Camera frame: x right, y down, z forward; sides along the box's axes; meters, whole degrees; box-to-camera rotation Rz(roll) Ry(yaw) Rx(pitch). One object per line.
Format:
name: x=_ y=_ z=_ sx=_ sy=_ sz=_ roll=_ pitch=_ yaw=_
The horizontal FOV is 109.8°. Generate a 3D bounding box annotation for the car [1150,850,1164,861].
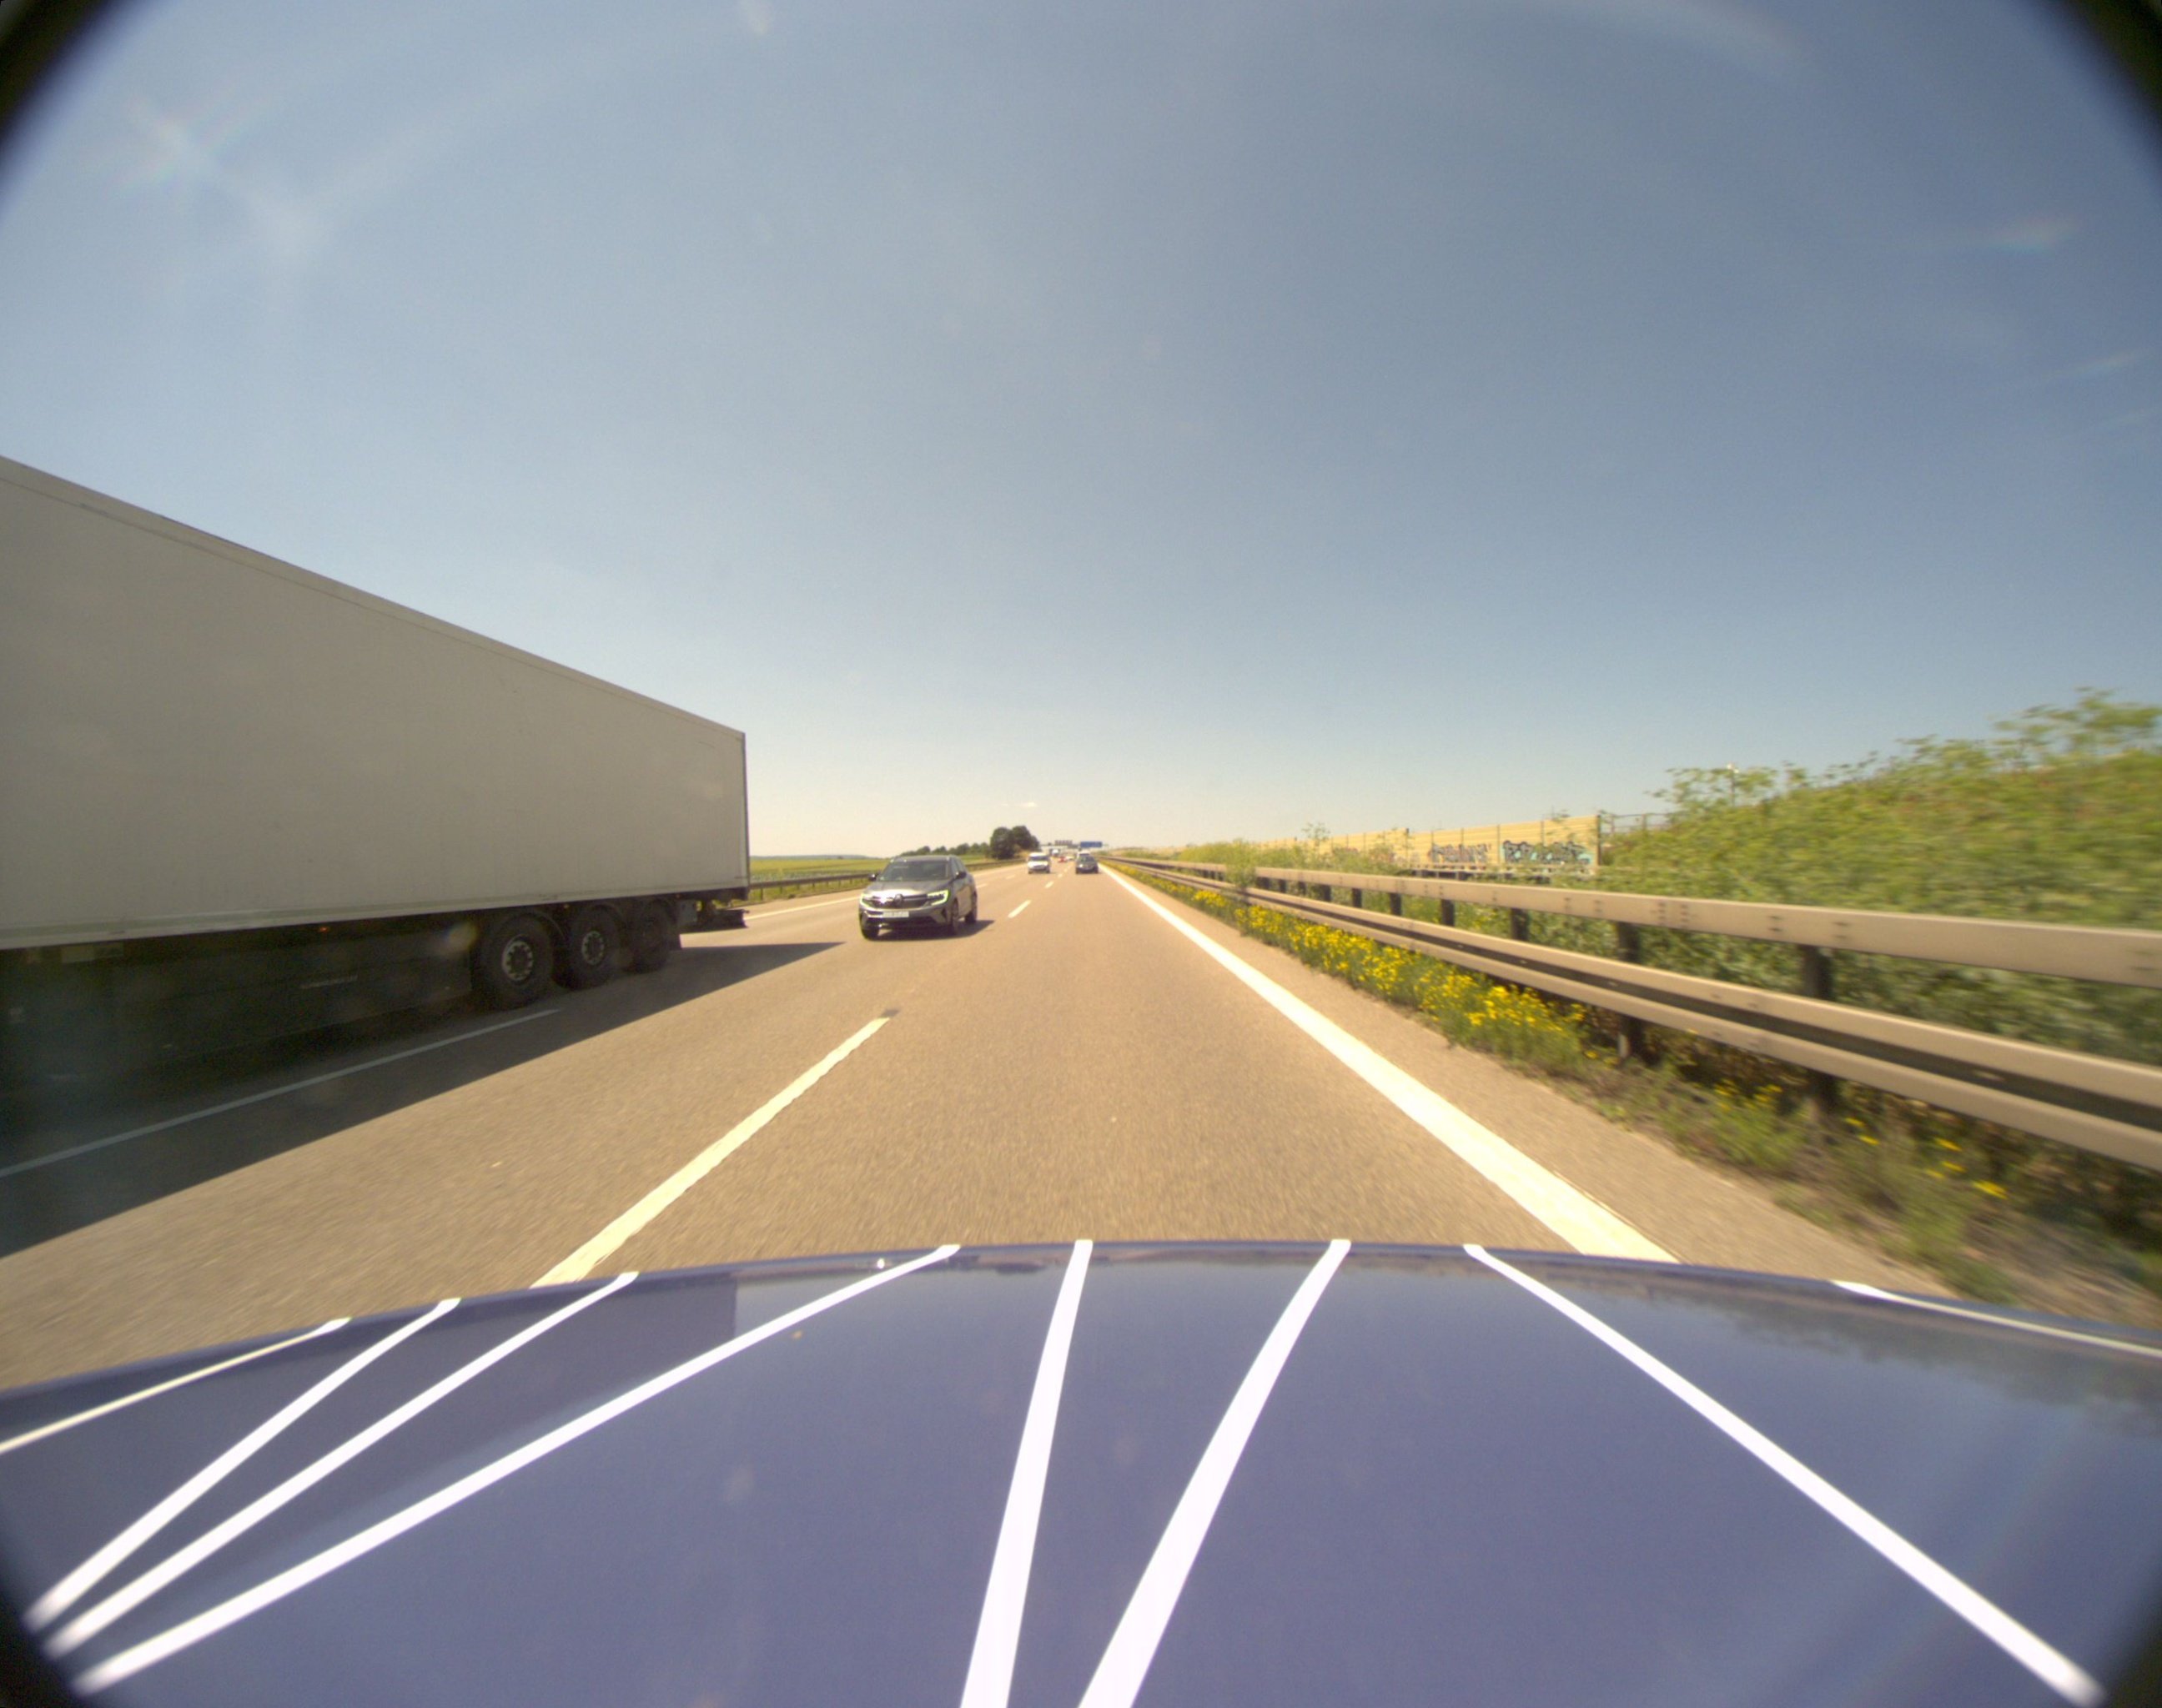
car: x=14.588 y=0.308 z=146.035 sx=1.998 sy=1.950 sz=5.913 roll=-2 pitch=0 yaw=0

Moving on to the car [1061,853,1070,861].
car: x=-3.132 y=0.521 z=152.000 sx=1.723 sy=1.514 sz=3.581 roll=-2 pitch=1 yaw=1

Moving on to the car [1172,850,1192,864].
car: x=14.788 y=0.391 z=111.507 sx=1.998 sy=1.929 sz=5.854 roll=2 pitch=1 yaw=0

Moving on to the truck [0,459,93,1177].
truck: x=-7.530 y=-0.149 z=1.151 sx=2.870 sy=4.068 sz=6.878 roll=-2 pitch=1 yaw=0

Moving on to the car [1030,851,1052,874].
car: x=-3.502 y=0.738 z=67.002 sx=1.812 sy=1.836 sz=5.311 roll=-2 pitch=0 yaw=-2

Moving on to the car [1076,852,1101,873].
car: x=0.576 y=0.670 z=60.969 sx=1.715 sy=1.586 sz=4.546 roll=3 pitch=0 yaw=-2

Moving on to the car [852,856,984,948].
car: x=-3.346 y=0.911 z=16.534 sx=1.856 sy=1.639 sz=4.644 roll=-1 pitch=0 yaw=0

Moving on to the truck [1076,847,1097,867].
truck: x=0.664 y=0.355 z=100.634 sx=2.334 sy=2.378 sz=6.685 roll=-2 pitch=0 yaw=-2

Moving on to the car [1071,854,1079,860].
car: x=-1.520 y=0.716 z=187.410 sx=1.724 sy=1.514 sz=3.581 roll=-2 pitch=1 yaw=-2

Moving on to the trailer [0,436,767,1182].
trailer: x=-7.494 y=-0.251 z=7.687 sx=2.875 sy=4.195 sz=13.293 roll=-2 pitch=0 yaw=0
